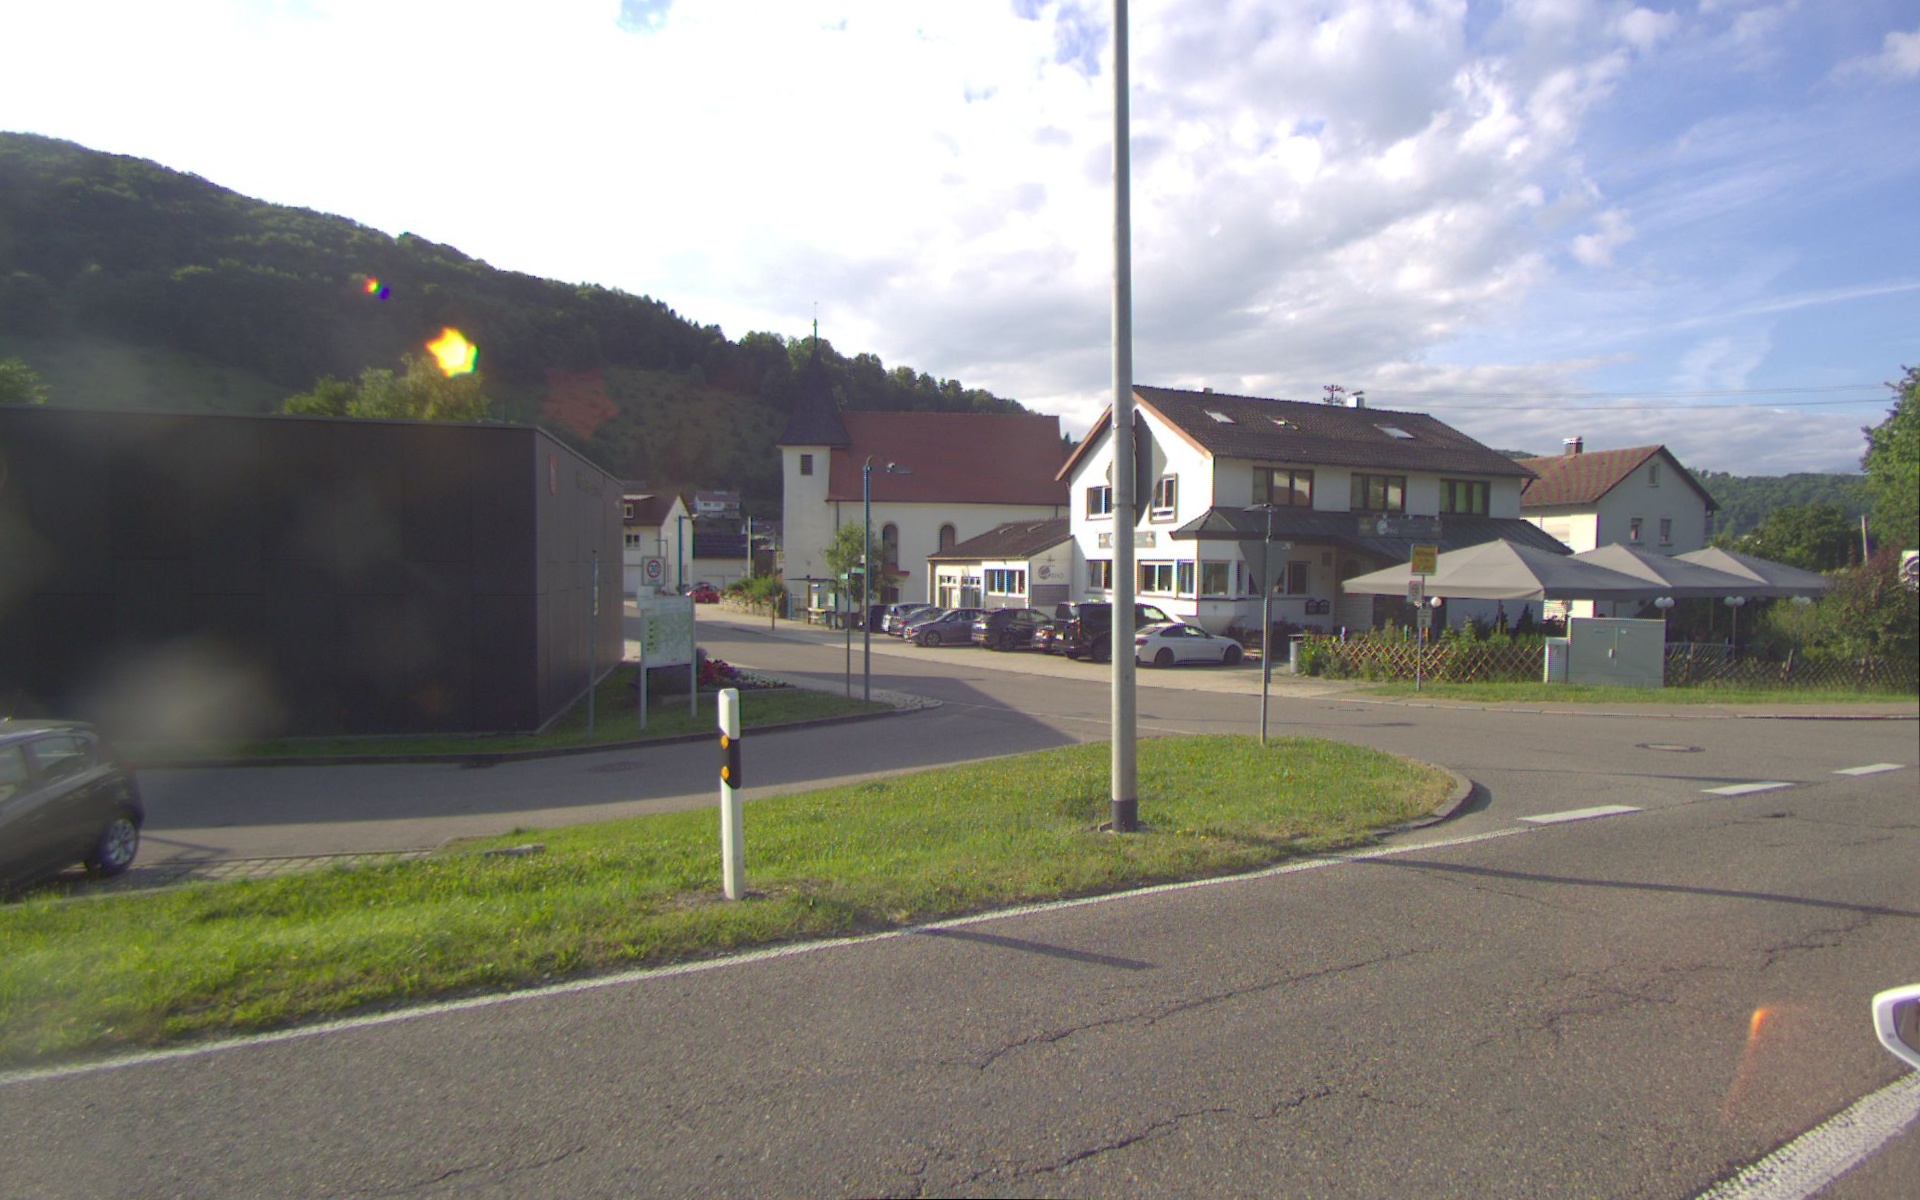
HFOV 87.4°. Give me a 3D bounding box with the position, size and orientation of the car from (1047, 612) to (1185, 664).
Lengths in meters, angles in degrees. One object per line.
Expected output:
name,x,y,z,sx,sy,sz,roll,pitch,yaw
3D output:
car,5.461,1.314,35.114,4.518,1.707,1.986,1,-1,-27

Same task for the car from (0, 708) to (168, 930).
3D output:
car,-8.519,1.828,8.033,1.801,1.555,3.992,1,-1,-12

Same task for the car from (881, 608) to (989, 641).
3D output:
car,-1.117,1.098,45.468,4.518,1.431,1.986,1,-1,-27

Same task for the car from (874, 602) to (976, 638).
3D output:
car,-1.660,0.983,48.065,4.518,1.665,1.986,1,-1,-27

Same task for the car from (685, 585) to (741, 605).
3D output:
car,-19.794,-0.393,80.594,3.956,1.528,1.982,0,0,-33

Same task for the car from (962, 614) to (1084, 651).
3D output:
car,2.537,1.287,40.161,4.518,1.431,1.986,1,-1,-27

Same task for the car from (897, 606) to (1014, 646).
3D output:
car,-0.179,1.103,42.304,4.518,1.618,1.986,1,-1,-27

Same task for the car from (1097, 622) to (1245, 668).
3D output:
car,6.921,1.432,32.868,4.518,1.408,1.986,1,-1,-27

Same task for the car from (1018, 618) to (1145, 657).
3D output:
car,4.633,1.416,38.220,4.518,1.408,1.986,1,-1,-27
